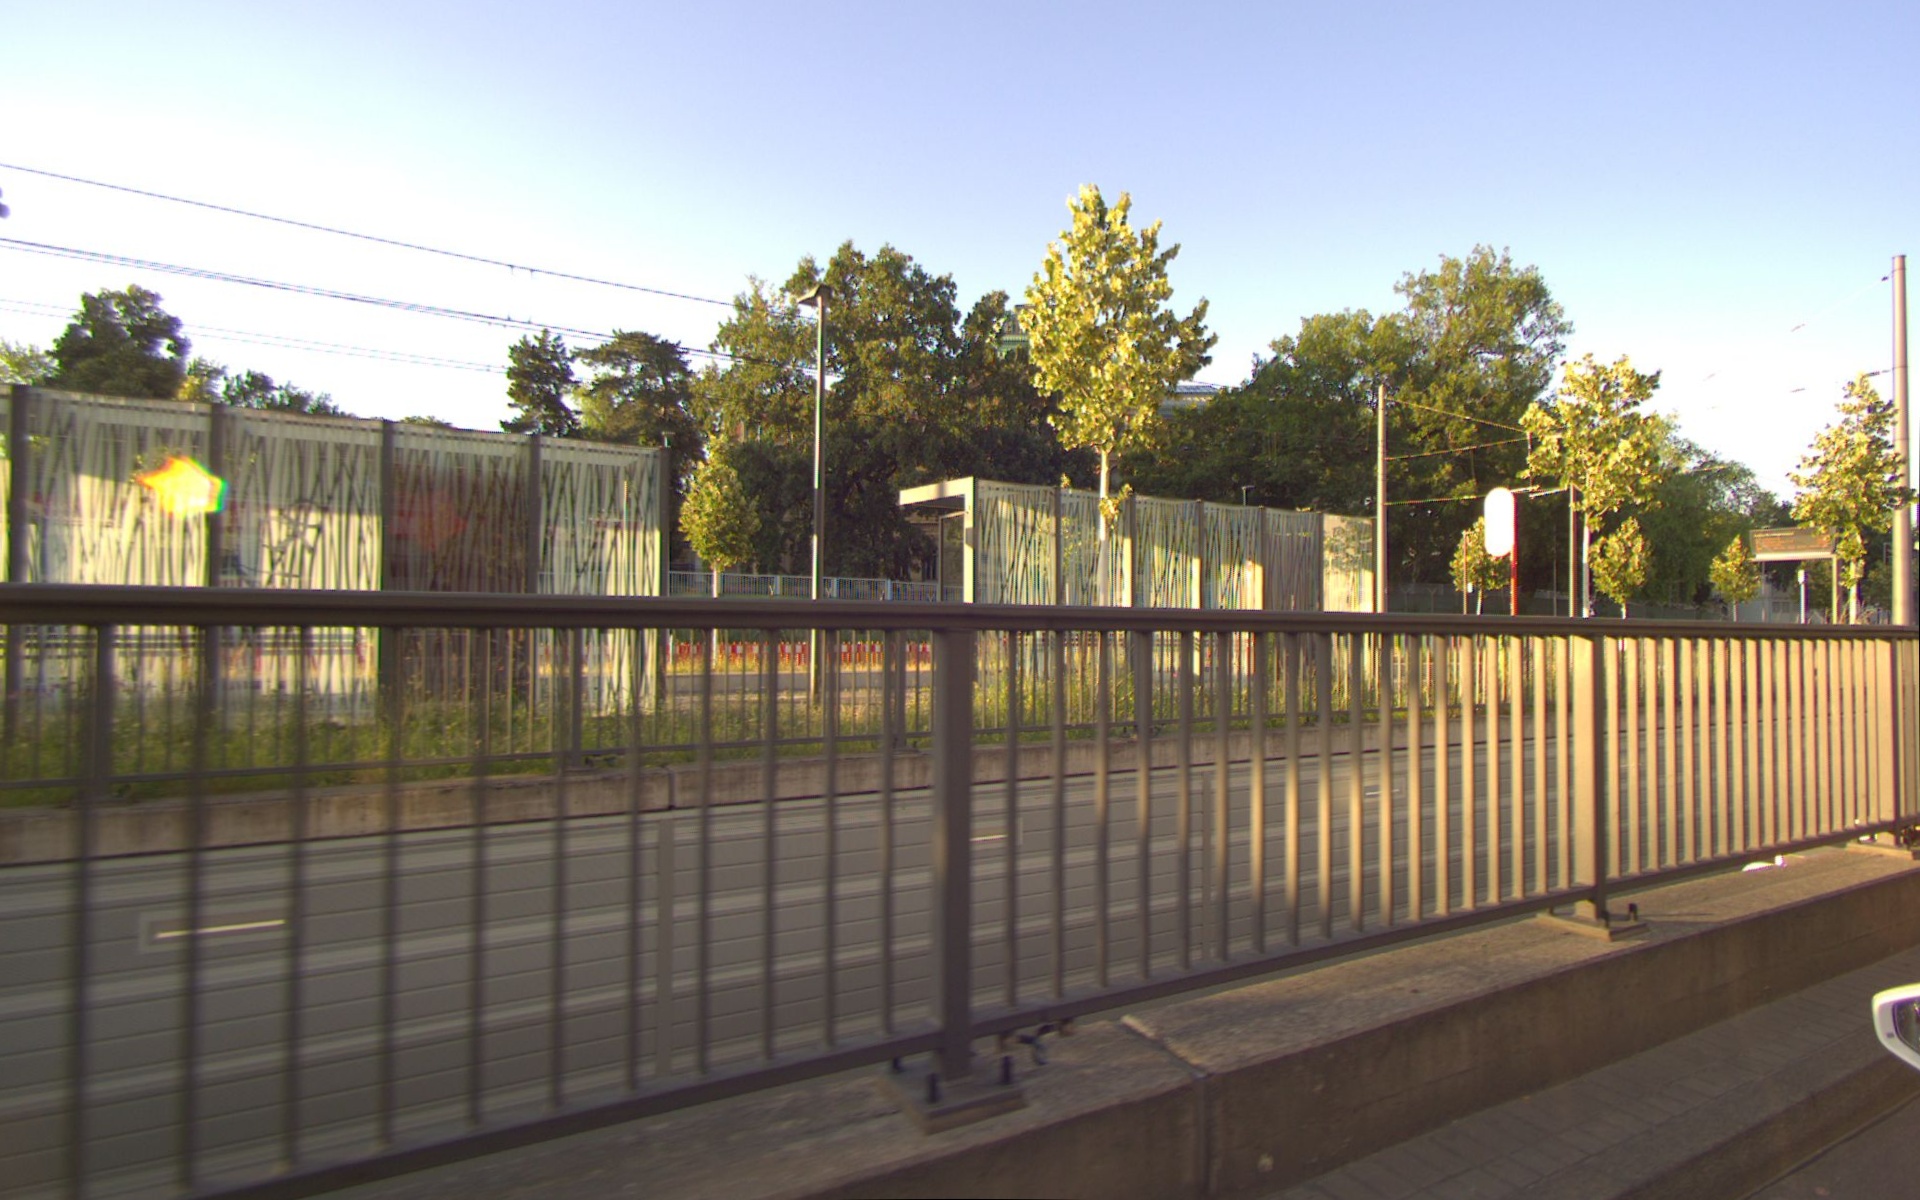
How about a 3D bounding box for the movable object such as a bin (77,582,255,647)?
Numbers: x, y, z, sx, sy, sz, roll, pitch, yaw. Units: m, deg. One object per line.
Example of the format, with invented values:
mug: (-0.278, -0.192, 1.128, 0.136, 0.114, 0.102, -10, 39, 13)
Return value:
movable object such as a bin: (-29.596, 0.587, 37.655, 4.877, 2.276, 1.986, 2, -1, -28)
